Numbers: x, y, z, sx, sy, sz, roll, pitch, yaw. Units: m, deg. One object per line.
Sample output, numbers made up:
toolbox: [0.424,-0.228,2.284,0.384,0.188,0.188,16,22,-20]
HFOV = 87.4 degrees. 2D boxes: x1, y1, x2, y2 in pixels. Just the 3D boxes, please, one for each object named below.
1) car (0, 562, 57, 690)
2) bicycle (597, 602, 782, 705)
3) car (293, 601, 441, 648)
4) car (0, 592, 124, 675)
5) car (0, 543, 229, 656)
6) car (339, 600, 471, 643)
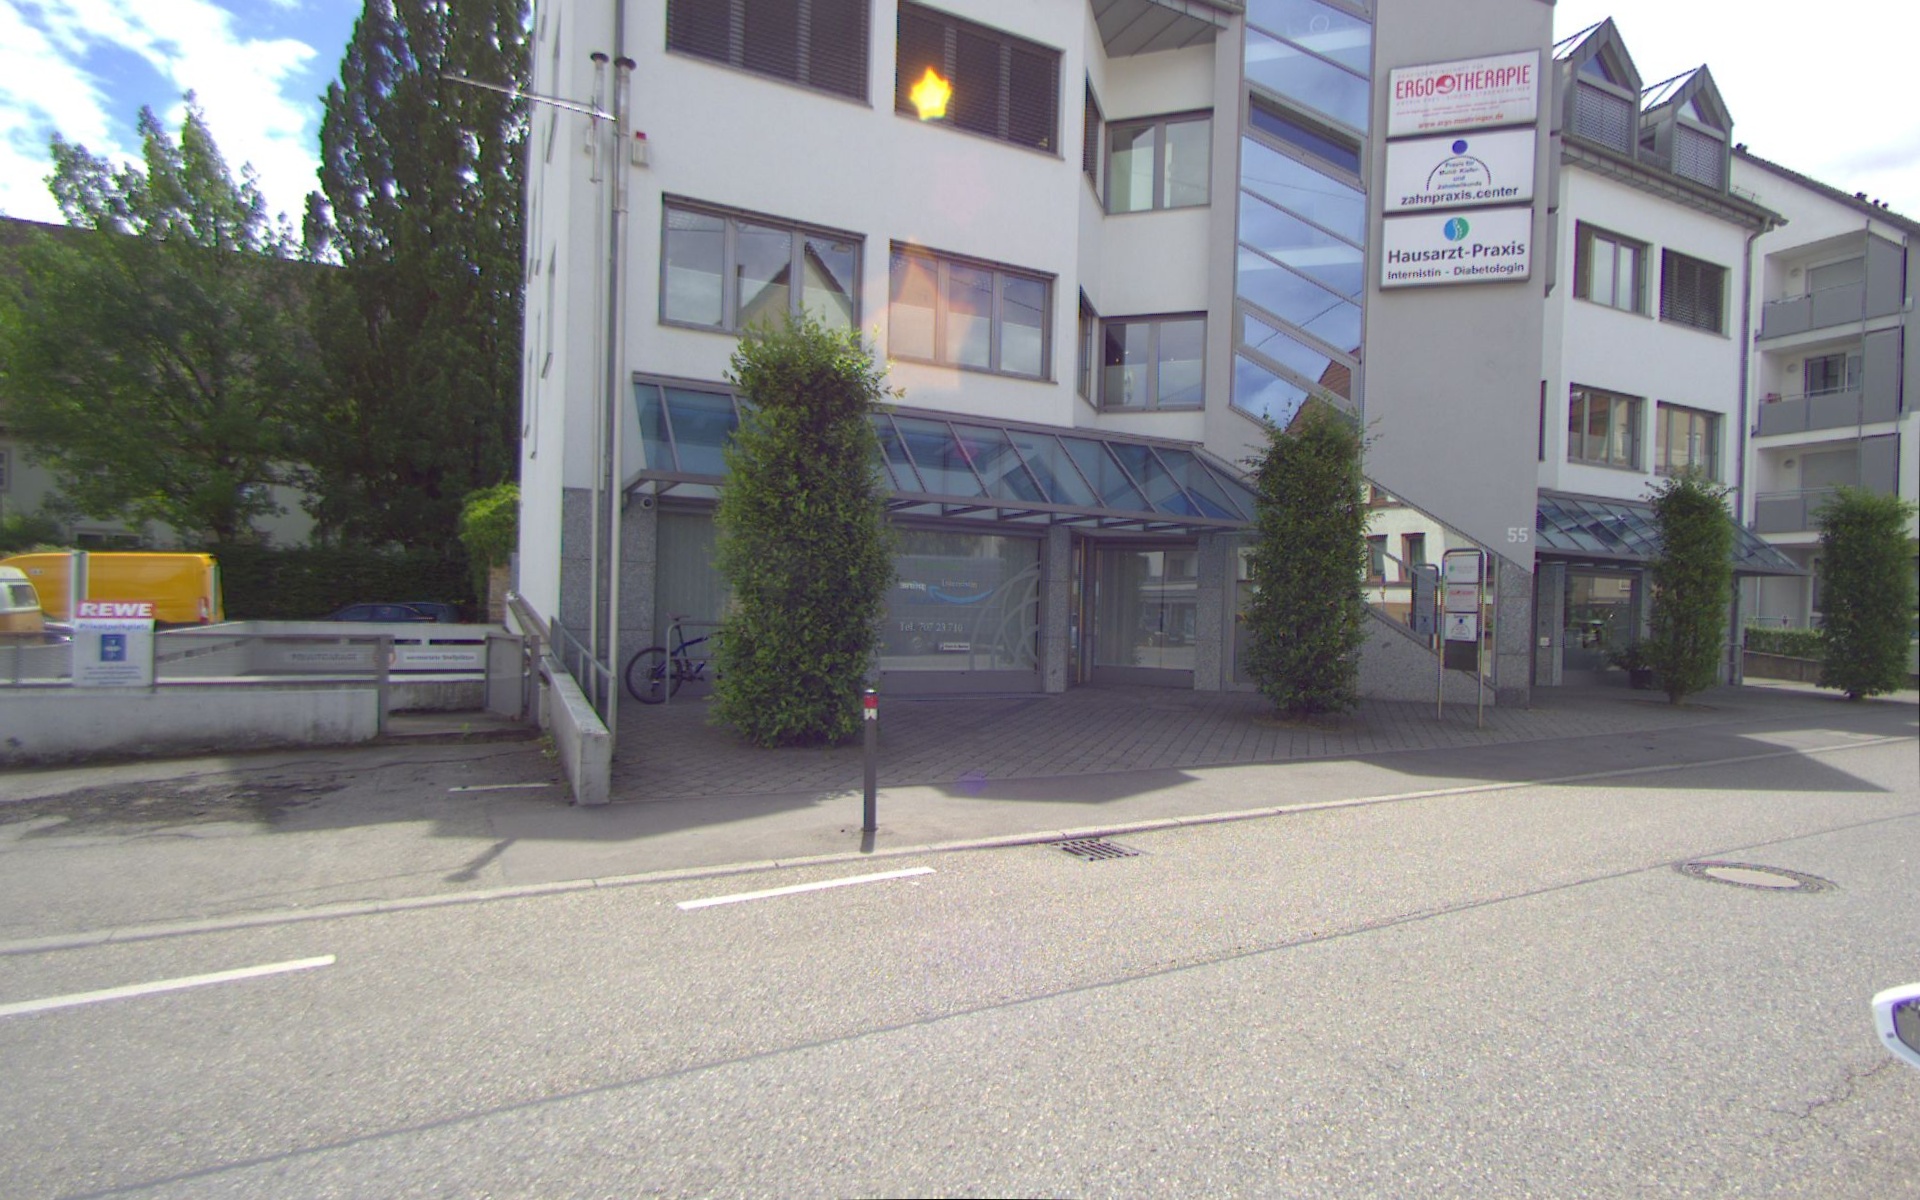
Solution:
car: [-17.455,0.362,15.713,4.590,2.016,1.831,1,0,-28]
bicycle: [-3.120,0.598,11.672,1.979,1.110,0.627,1,0,-30]
car: [-17.481,0.725,29.806,3.614,1.302,1.706,1,0,-26]
car: [-18.303,0.567,18.114,4.621,1.457,1.805,1,0,-26]
car: [-21.390,0.027,24.098,5.903,2.563,2.053,1,-2,-29]
car: [-17.877,0.686,32.554,3.614,1.302,1.706,1,0,-26]
